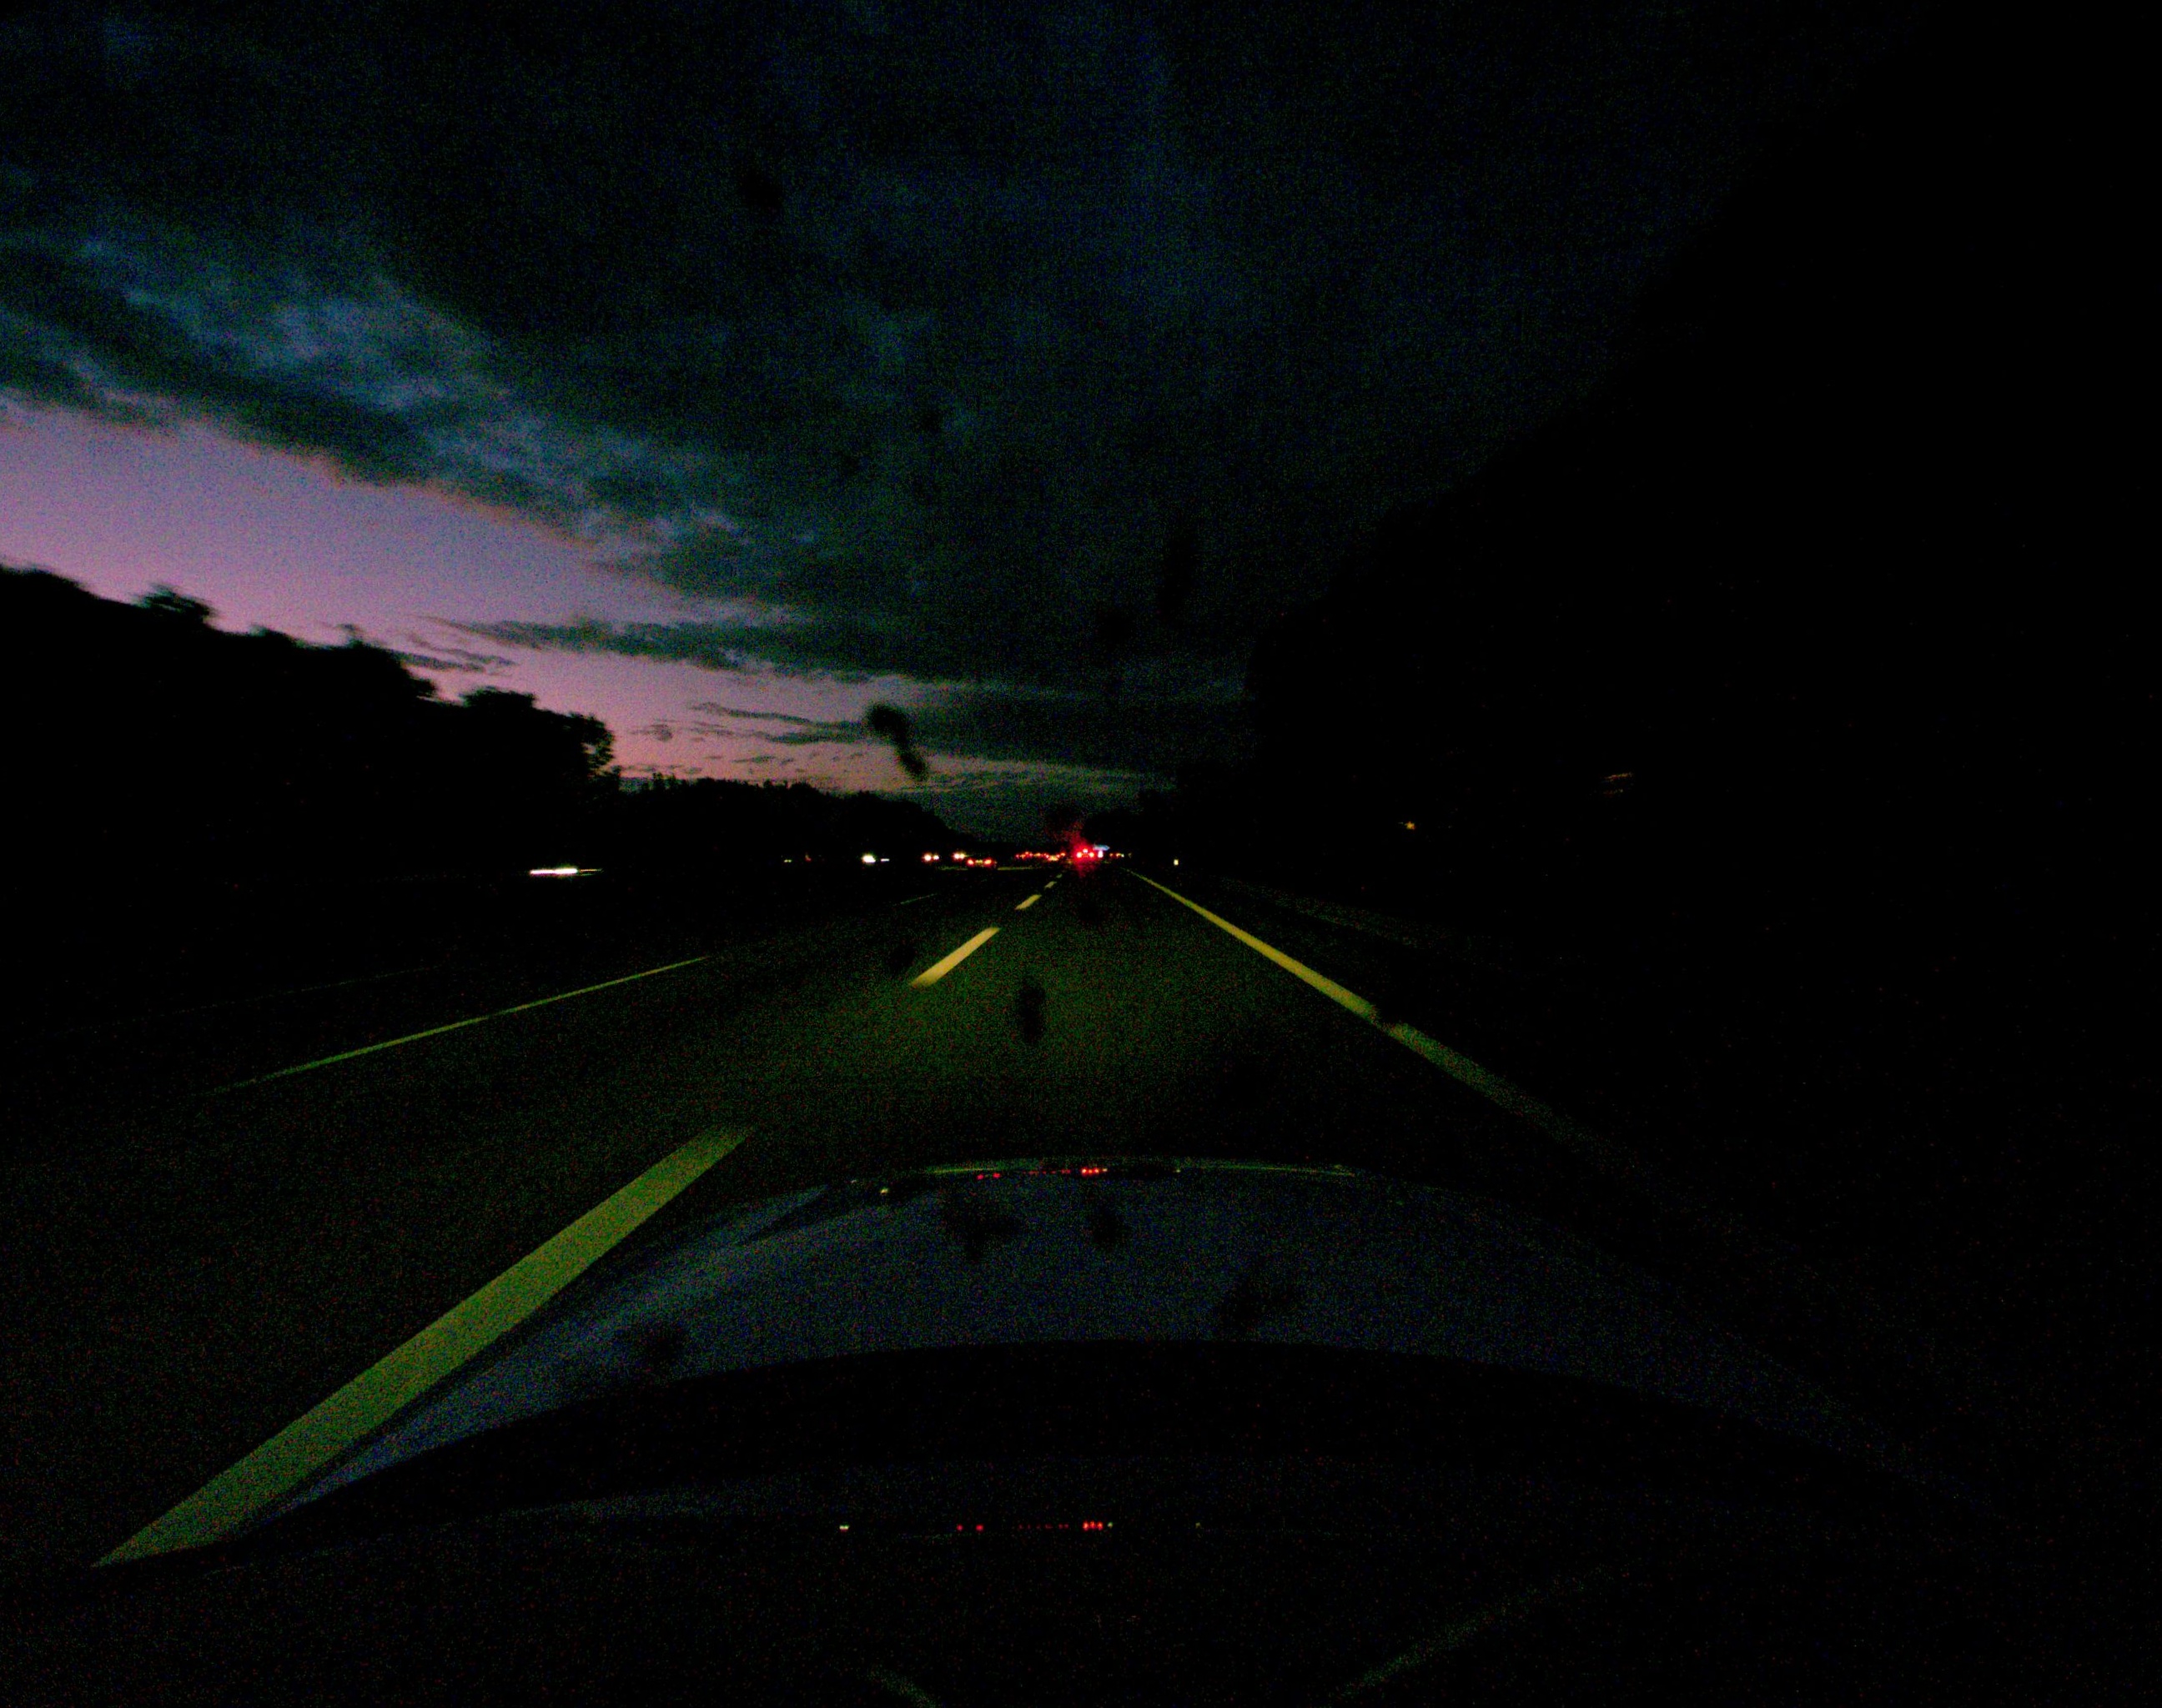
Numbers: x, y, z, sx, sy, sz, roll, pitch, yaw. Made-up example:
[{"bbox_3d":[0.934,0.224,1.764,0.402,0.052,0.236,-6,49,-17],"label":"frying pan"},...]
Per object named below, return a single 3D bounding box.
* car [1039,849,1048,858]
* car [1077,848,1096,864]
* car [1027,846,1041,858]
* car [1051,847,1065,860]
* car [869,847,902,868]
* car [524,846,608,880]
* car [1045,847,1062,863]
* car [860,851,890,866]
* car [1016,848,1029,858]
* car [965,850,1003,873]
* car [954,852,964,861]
[{"bbox_3d":[-8.508,-0.148,183.849,1.989,2.014,3.996,-1,0,-3],"label":"car"},{"bbox_3d":[0.575,0.174,89.198,1.988,1.659,4.312,-1,0,-2],"label":"car"},{"bbox_3d":[-8.032,-0.346,140.501,2.063,2.013,4.002,-1,0,2],"label":"car"},{"bbox_3d":[-3.754,-0.105,132.742,1.986,2.013,4.001,-1,0,1],"label":"car"},{"bbox_3d":[-19.322,0.335,80.773,1.986,2.013,4.490,-1,0,2],"label":"car"},{"bbox_3d":[-32.147,0.531,51.061,1.986,2.013,5.011,-1,0,1],"label":"car"},{"bbox_3d":[-3.583,0.165,105.029,1.987,2.013,4.000,0,0,1],"label":"car"},{"bbox_3d":[-23.137,0.466,91.660,1.987,1.664,5.011,-1,0,1],"label":"car"},{"bbox_3d":[-11.579,-0.194,160.926,2.097,2.013,4.001,-2,0,1],"label":"car"},{"bbox_3d":[-7.294,0.572,61.776,1.985,1.642,4.560,-1,0,4],"label":"car"},{"bbox_3d":[-29.602,0.647,198.196,2.022,2.013,4.235,-1,0,-2],"label":"car"}]
